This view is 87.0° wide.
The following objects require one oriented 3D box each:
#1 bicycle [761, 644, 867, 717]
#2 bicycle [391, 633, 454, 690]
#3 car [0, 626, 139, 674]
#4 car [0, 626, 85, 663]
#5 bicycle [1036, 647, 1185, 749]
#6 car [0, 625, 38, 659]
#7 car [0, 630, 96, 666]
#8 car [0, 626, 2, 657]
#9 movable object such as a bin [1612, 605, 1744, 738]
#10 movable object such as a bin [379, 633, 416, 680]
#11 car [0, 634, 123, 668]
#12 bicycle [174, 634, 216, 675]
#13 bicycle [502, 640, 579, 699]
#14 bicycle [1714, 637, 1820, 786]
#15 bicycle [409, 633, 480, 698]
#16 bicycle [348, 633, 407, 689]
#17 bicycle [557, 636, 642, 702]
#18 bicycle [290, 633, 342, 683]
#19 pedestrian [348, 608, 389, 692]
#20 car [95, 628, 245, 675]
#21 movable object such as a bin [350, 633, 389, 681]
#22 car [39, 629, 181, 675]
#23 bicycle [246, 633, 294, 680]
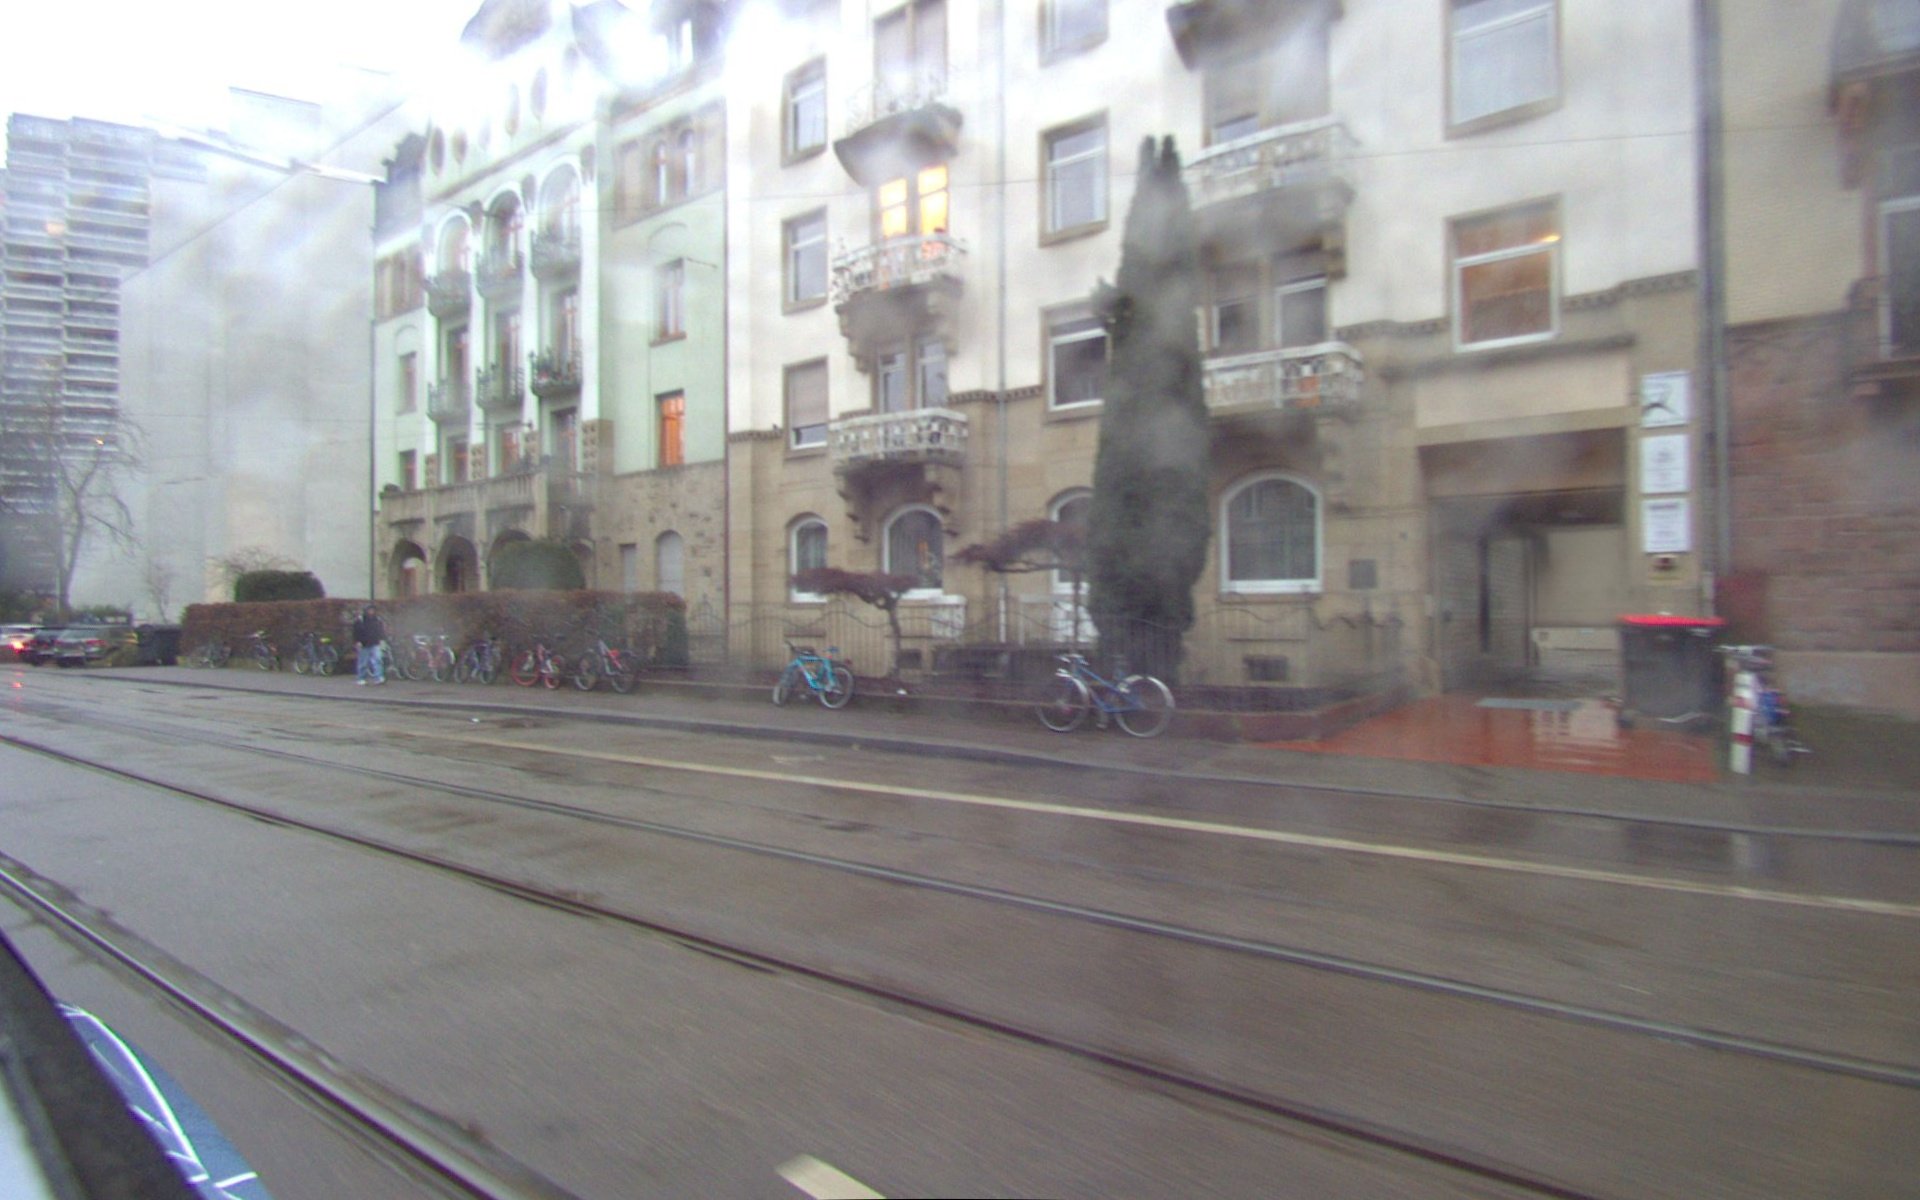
[{"bbox_3d":[-2.191,1.168,15.076,1.660,1.010,0.617,-2,-2,39],"label":"bicycle"},{"bbox_3d":[-11.695,1.313,21.997,1.660,1.173,0.617,-2,-2,39],"label":"bicycle"},{"bbox_3d":[-32.758,1.788,37.278,1.842,1.608,4.000,-1,-1,-1],"label":"car"},{"bbox_3d":[-42.933,2.017,46.606,1.842,1.608,4.000,-1,-1,-1],"label":"car"},{"bbox_3d":[1.761,1.118,11.996,1.660,1.101,0.617,-2,-2,39],"label":"bicycle"},{"bbox_3d":[-46.149,1.990,47.661,1.842,1.608,4.000,-1,-1,-1],"label":"car"},{"bbox_3d":[-40.352,2.066,44.212,1.842,1.460,4.000,-1,-1,-1],"label":"car"},{"bbox_3d":[-51.463,2.149,51.416,1.842,1.608,4.000,-1,-1,-1],"label":"car"},{"bbox_3d":[8.295,0.779,11.690,1.166,1.390,1.092,-1,1,38],"label":"movable object such as a bin"},{"bbox_3d":[-14.375,1.439,25.877,0.674,1.173,0.617,-2,-2,39],"label":"movable object such as a bin"},{"bbox_3d":[-35.143,1.972,39.690,1.687,1.262,3.667,0,-2,-1],"label":"car"},{"bbox_3d":[-22.807,1.621,30.157,1.660,1.173,0.617,-2,-1,39],"label":"bicycle"},{"bbox_3d":[-8.061,1.315,19.413,1.725,1.073,0.617,-2,-2,39],"label":"bicycle"},{"bbox_3d":[7.626,0.976,9.608,0.694,1.114,2.327,-1,1,38],"label":"bicycle"},{"bbox_3d":[-10.075,1.250,19.769,1.660,1.221,0.617,-2,-2,39],"label":"bicycle"},{"bbox_3d":[-13.358,1.373,23.197,1.660,1.221,0.617,-2,-2,39],"label":"bicycle"},{"bbox_3d":[-6.500,1.213,18.204,1.781,1.134,0.617,-2,-2,39],"label":"bicycle"},{"bbox_3d":[-16.355,1.442,25.672,1.660,1.221,0.617,-2,-2,39],"label":"bicycle"},{"bbox_3d":[-12.672,1.052,21.684,0.644,1.738,0.567,0,0,40],"label":"pedestrian"},{"bbox_3d":[-27.414,1.754,35.306,1.847,1.505,3.990,-1,-1,8],"label":"car"},{"bbox_3d":[-14.794,1.418,25.355,0.674,1.173,0.651,-2,-2,39],"label":"movable object such as a bin"},{"bbox_3d":[-29.974,1.793,35.854,1.740,1.497,4.000,-1,-1,-1],"label":"car"},{"bbox_3d":[-18.441,1.491,27.043,1.660,1.221,0.617,-2,-2,39],"label":"bicycle"}]
